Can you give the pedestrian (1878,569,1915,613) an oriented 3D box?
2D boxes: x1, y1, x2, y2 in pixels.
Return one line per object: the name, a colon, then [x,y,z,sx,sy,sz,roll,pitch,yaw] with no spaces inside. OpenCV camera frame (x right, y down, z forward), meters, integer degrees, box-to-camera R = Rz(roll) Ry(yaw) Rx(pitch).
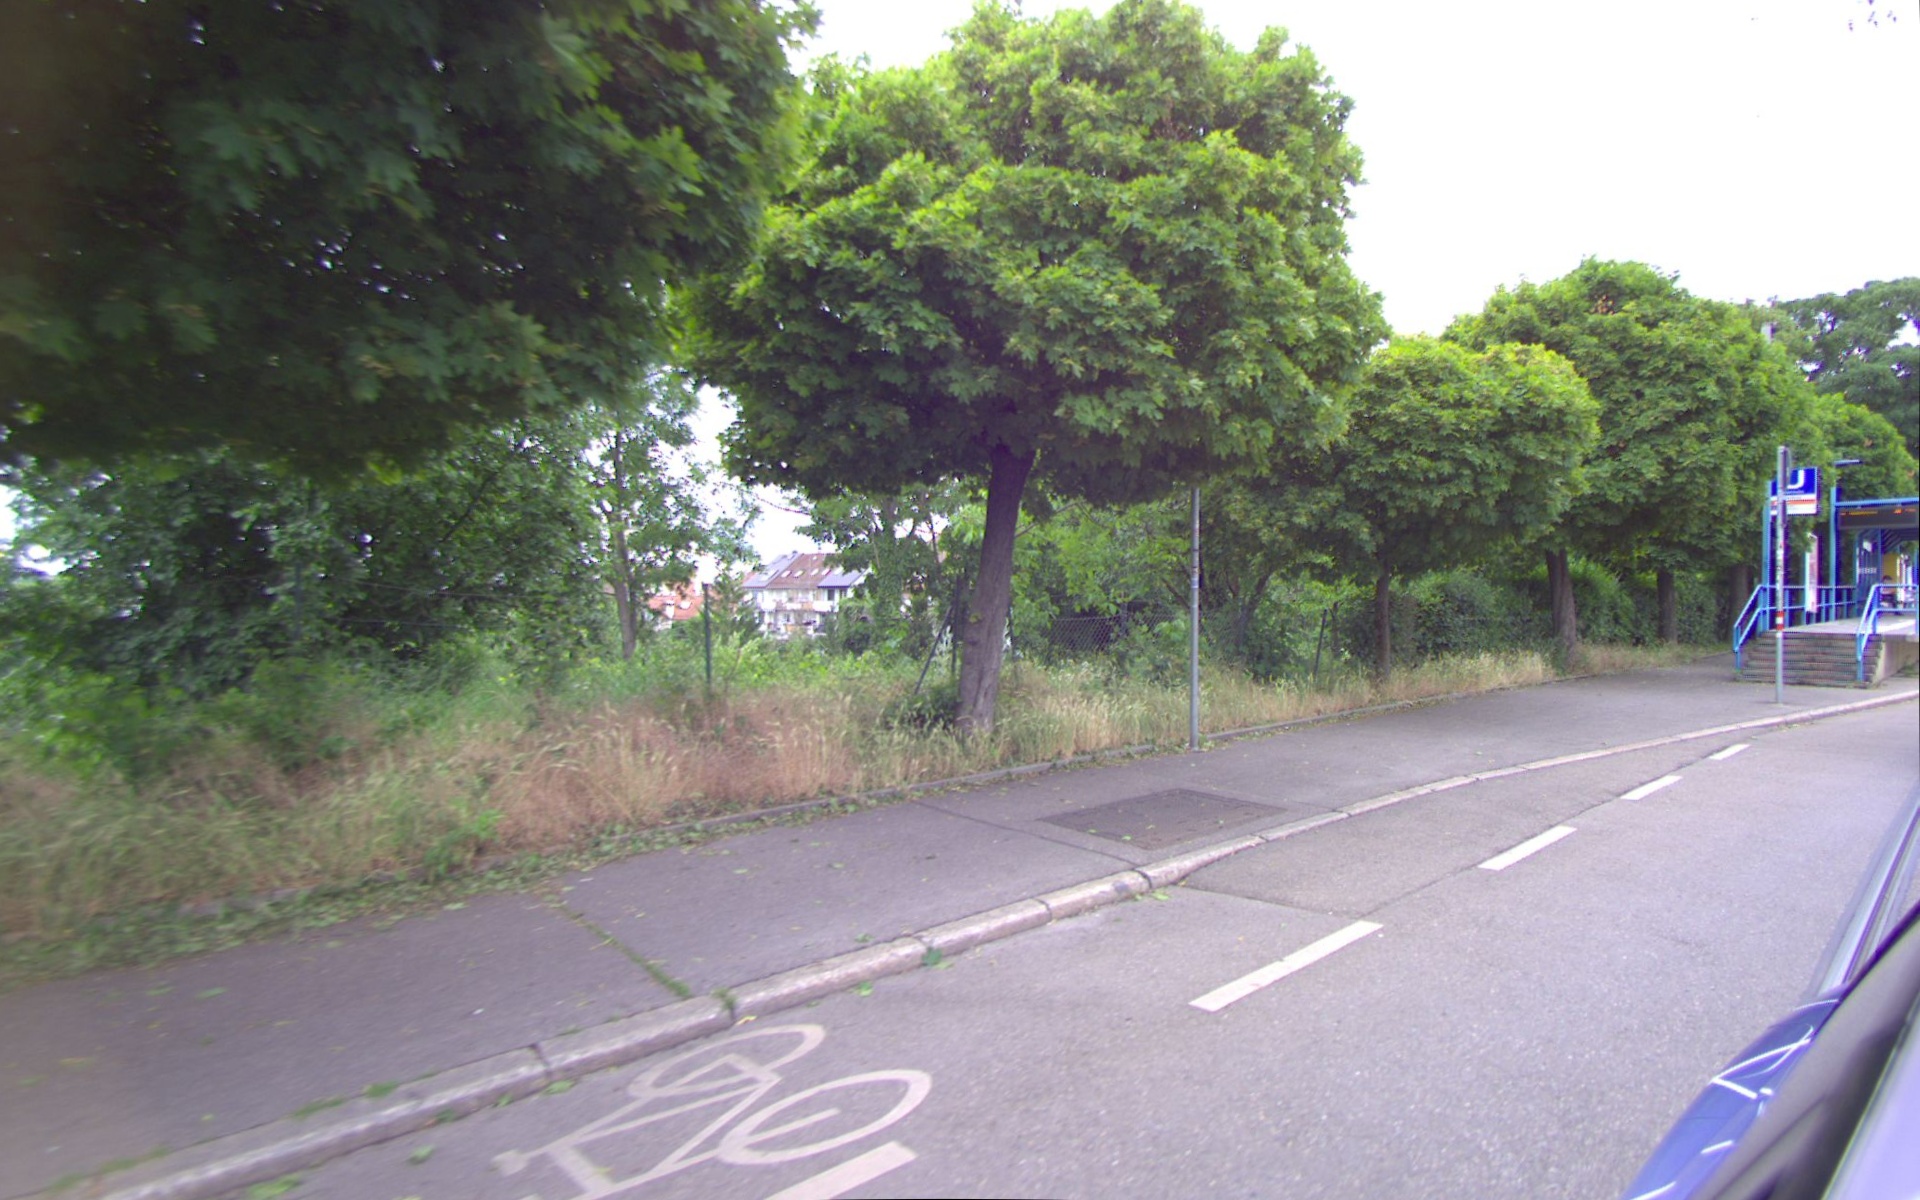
pedestrian: [29.031,-0.281,31.359,0.645,1.331,0.780,0,0,-42]
